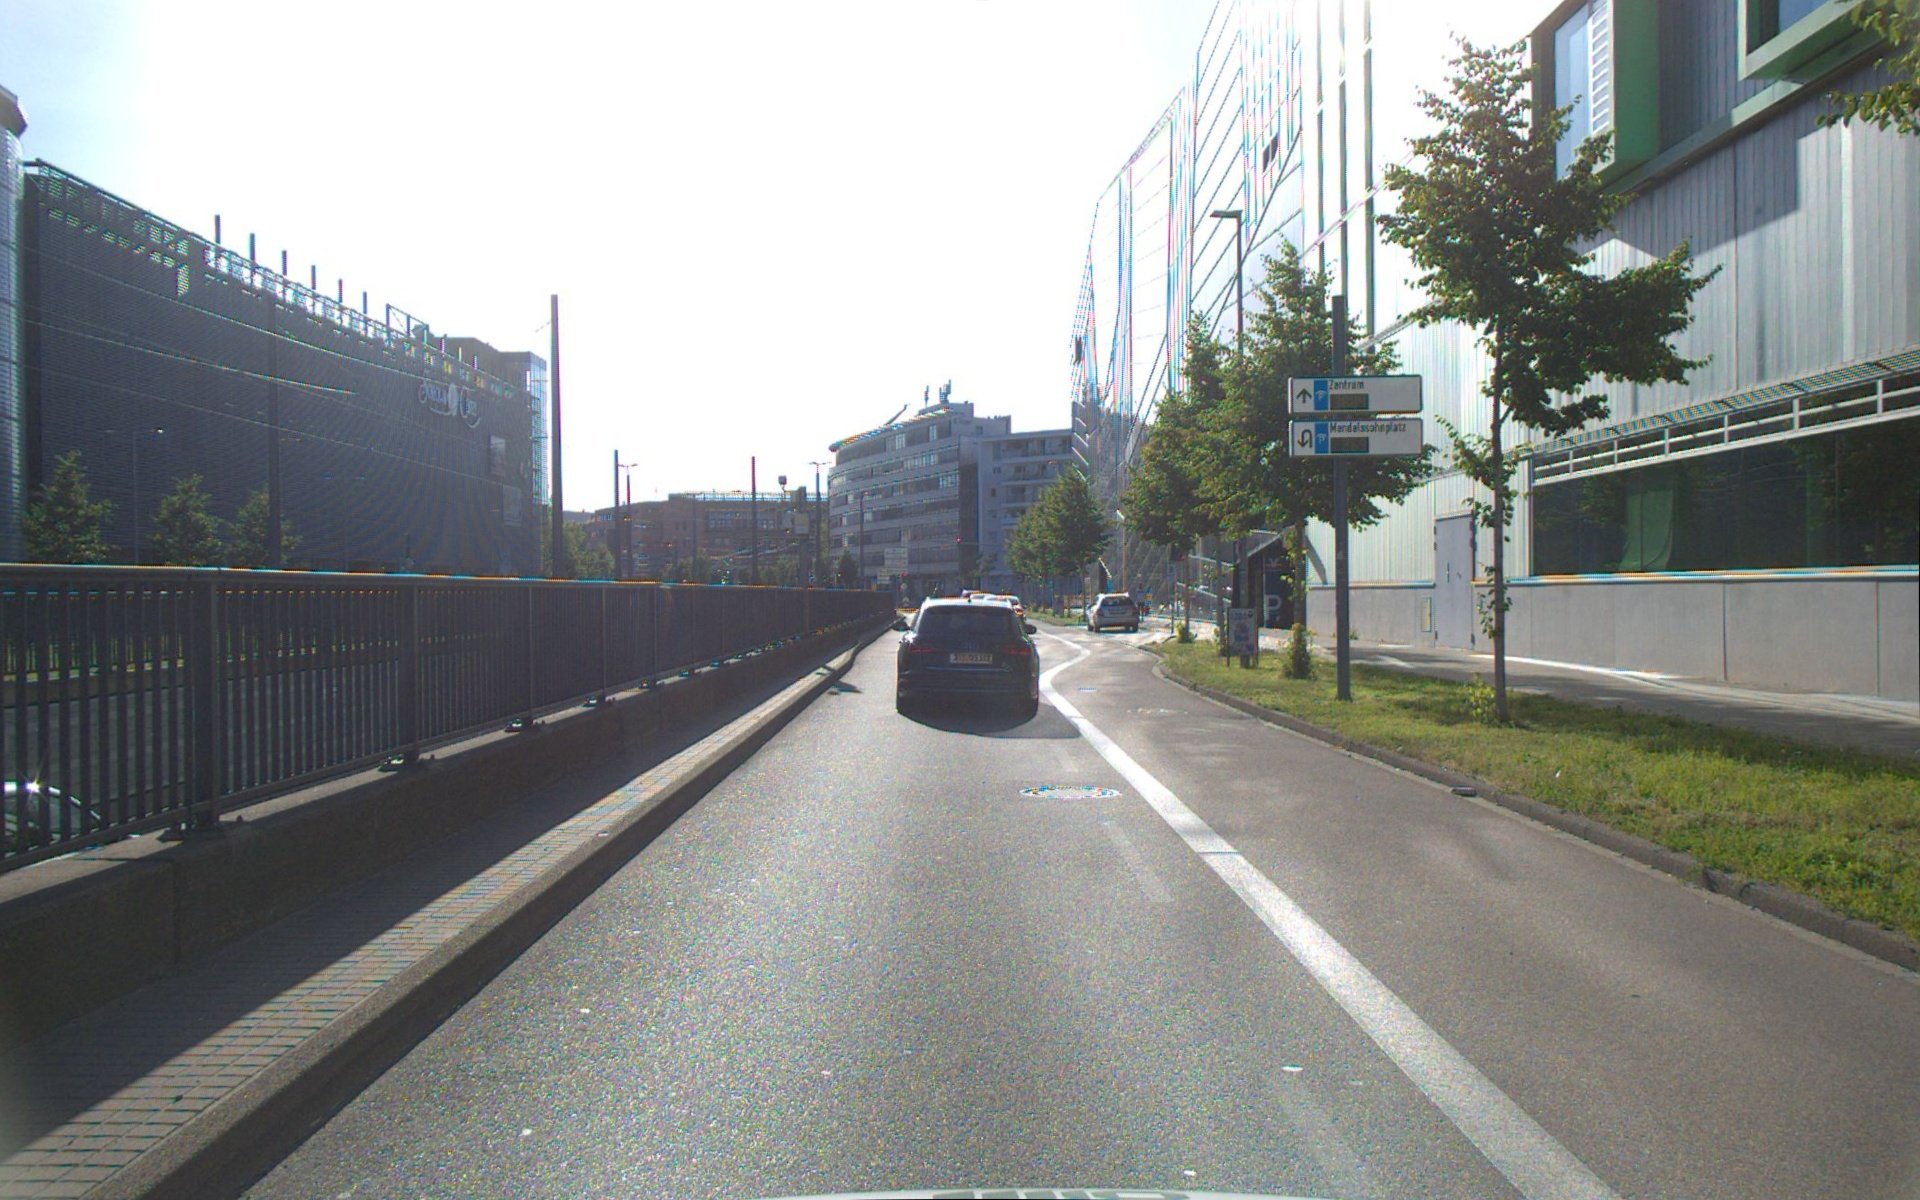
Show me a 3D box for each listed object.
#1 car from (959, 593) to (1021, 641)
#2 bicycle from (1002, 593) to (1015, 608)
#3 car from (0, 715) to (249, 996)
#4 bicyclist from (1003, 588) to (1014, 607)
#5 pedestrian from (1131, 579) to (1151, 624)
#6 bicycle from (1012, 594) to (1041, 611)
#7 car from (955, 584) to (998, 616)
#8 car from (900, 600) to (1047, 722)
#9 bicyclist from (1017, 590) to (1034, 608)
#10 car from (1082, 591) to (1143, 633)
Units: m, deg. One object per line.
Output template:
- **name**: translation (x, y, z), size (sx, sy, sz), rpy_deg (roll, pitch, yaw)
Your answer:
- **car**: translation (1.010, 0.575, 57.451), size (1.816, 1.573, 3.997), rpy_deg (1, 0, -4)
- **bicycle**: translation (3.866, 0.037, 132.157), size (0.710, 1.204, 2.090), rpy_deg (-2, 0, -7)
- **car**: translation (-7.192, 1.821, 12.053), size (1.761, 1.553, 4.912), rpy_deg (1, 0, 1)
- **bicyclist**: translation (3.871, -0.202, 132.178), size (0.710, 1.443, 0.890), rpy_deg (-2, 0, -8)
- **pedestrian**: translation (8.397, 0.076, 76.717), size (0.819, 2.049, 0.689), rpy_deg (-2, 0, 0)
- **bicycle**: translation (4.991, 0.192, 124.170), size (2.044, 1.204, 0.726), rpy_deg (-2, 0, 22)
- **car**: translation (0.809, -0.025, 83.267), size (1.954, 1.491, 3.998), rpy_deg (0, 1, -3)
- **car**: translation (0.111, 0.744, 22.485), size (1.775, 1.452, 4.688), rpy_deg (-1, 0, -1)
- **bicyclist**: translation (4.908, -0.074, 124.169), size (1.011, 1.291, 0.726), rpy_deg (-2, 0, 22)
- **car**: translation (6.038, 0.449, 65.830), size (1.815, 1.506, 4.853), rpy_deg (-2, 1, -1)
